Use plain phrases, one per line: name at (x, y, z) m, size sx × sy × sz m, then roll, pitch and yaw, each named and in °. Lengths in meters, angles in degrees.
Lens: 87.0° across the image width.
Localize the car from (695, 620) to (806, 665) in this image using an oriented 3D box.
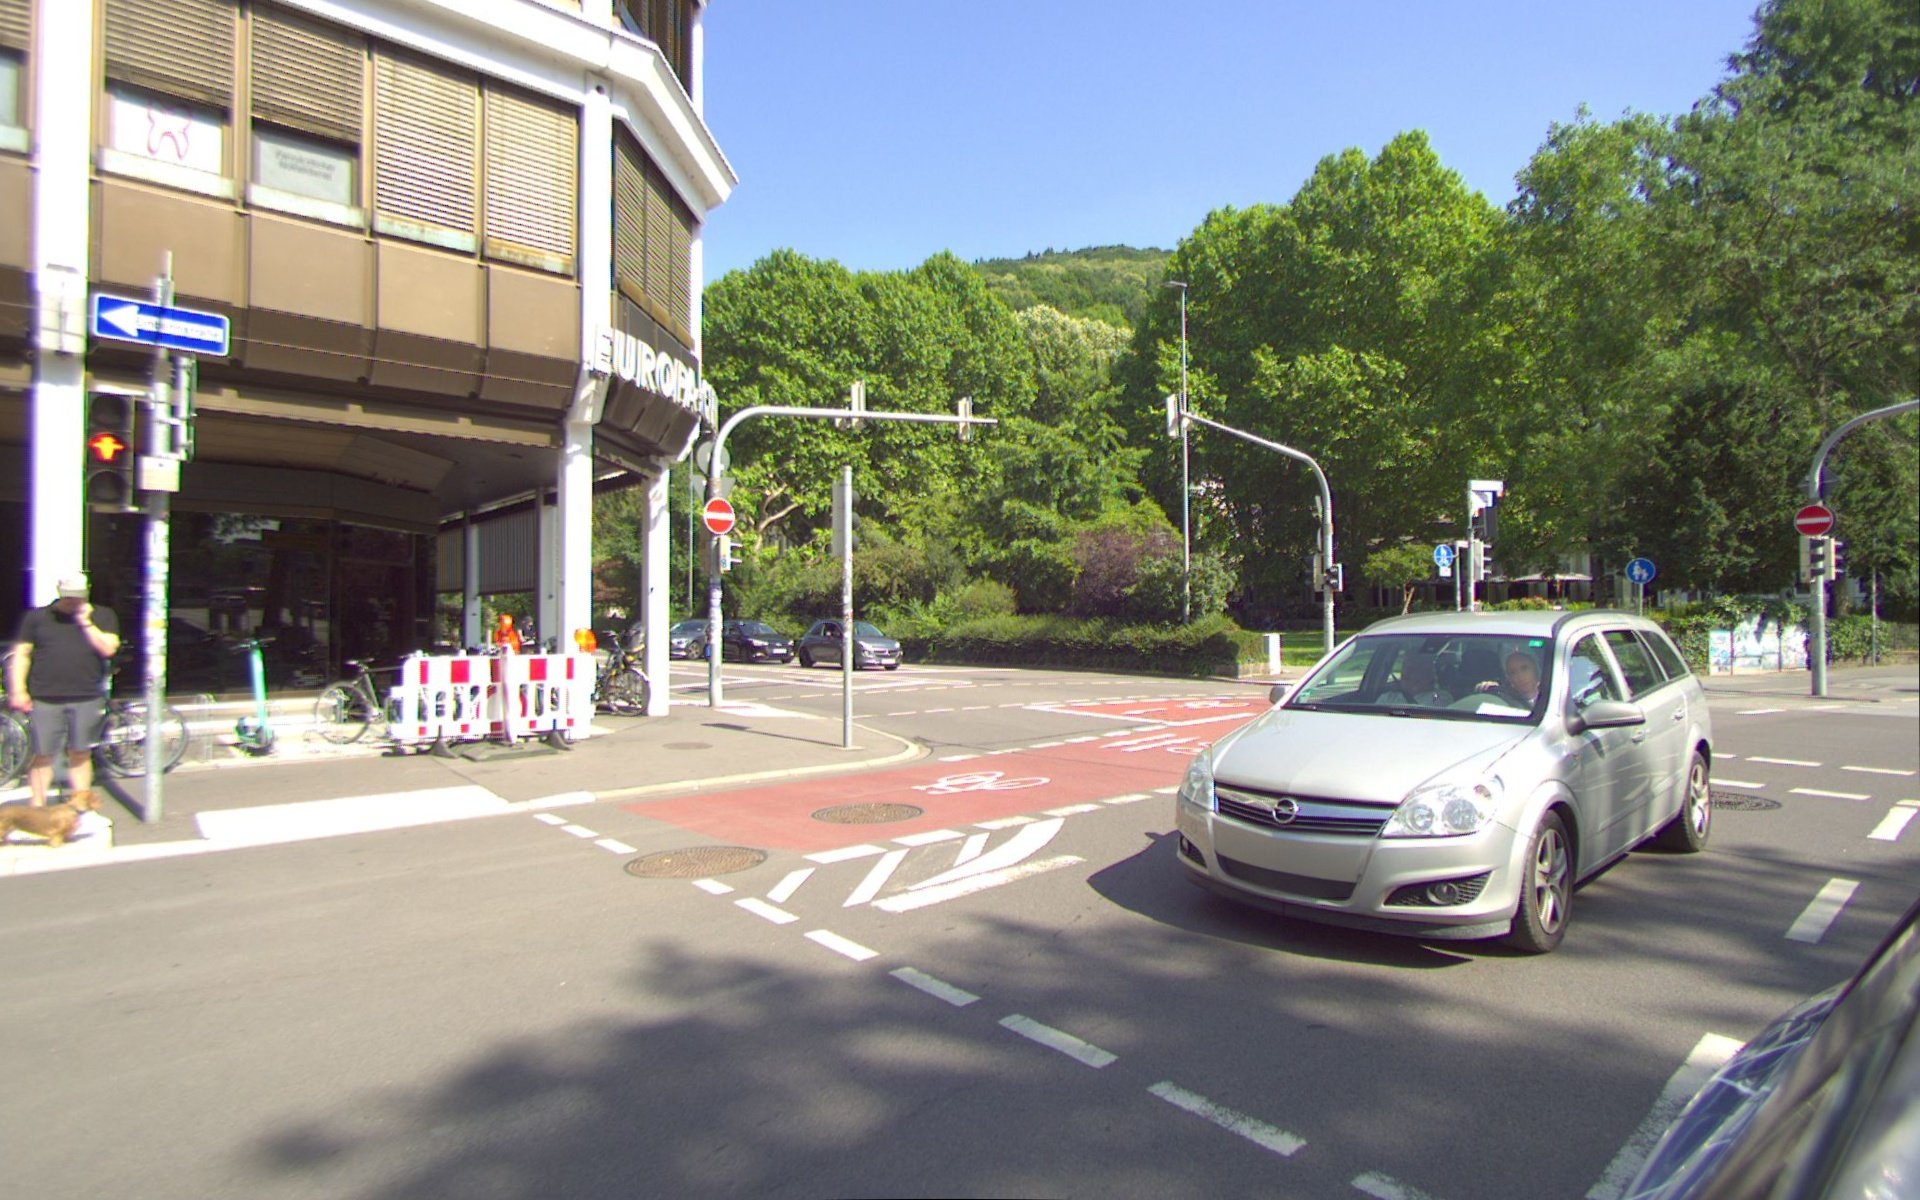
car at (-7.008, 1.364, 33.686) m, size 1.827 × 1.381 × 4.089 m, roll 2°, pitch -2°, yaw -42°

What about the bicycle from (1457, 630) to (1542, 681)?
bicycle at (12.744, 1.288, 23.923) m, size 1.669 × 1.135 × 0.773 m, roll -1°, pitch -1°, yaw 39°

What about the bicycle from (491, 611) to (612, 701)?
bicycle at (-7.091, 0.953, 17.583) m, size 1.936 × 1.440 × 0.529 m, roll 2°, pitch -1°, yaw 11°

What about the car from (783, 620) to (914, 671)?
car at (-3.327, 1.282, 29.635) m, size 1.827 × 1.381 × 4.090 m, roll 2°, pitch -2°, yaw -41°

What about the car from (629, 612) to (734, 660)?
car at (-10.152, 1.293, 37.274) m, size 2.030 × 1.604 × 4.734 m, roll -2°, pitch -1°, yaw 8°

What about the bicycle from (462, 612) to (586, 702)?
bicycle at (-7.334, 0.943, 17.026) m, size 1.936 × 1.440 × 0.529 m, roll 1°, pitch -1°, yaw 11°

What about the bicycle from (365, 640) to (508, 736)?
bicycle at (-6.054, 1.019, 11.731) m, size 1.442 × 1.079 × 0.309 m, roll 1°, pitch 0°, yaw -6°

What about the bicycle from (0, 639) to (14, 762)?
bicycle at (-8.951, 0.960, 9.170) m, size 0.272 × 1.134 × 1.723 m, roll 1°, pitch 0°, yaw -34°

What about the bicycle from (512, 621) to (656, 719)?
bicycle at (-5.422, 0.984, 14.601) m, size 1.936 × 1.334 × 0.529 m, roll 1°, pitch -1°, yaw 11°

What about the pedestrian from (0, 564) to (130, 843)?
pedestrian at (-6.456, 0.690, 7.238) m, size 0.683 × 1.859 × 0.836 m, roll -1°, pitch 0°, yaw -32°

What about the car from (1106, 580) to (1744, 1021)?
car at (2.861, 0.734, 5.665) m, size 4.331 × 1.542 × 1.709 m, roll 1°, pitch -2°, yaw -43°

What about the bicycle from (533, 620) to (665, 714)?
bicycle at (-5.390, 0.979, 15.129) m, size 1.829 × 1.334 × 0.529 m, roll 1°, pitch -1°, yaw 11°

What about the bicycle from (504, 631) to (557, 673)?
bicycle at (-12.628, 1.507, 29.726) m, size 0.752 × 1.134 × 2.117 m, roll -1°, pitch 0°, yaw -43°

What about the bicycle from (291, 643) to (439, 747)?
bicycle at (-6.539, 1.032, 11.137) m, size 1.445 × 1.079 × 0.376 m, roll 1°, pitch 0°, yaw 6°

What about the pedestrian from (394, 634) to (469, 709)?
pedestrian at (-9.958, 1.326, 19.086) m, size 0.957 × 1.352 × 0.826 m, roll -1°, pitch -1°, yaw 13°

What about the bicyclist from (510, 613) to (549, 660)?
bicyclist at (-12.646, 1.051, 29.733) m, size 0.769 × 1.325 × 0.941 m, roll -1°, pitch 0°, yaw -43°

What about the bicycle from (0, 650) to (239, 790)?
bicycle at (-7.674, 1.026, 8.848) m, size 2.199 × 1.135 × 0.277 m, roll 1°, pitch -2°, yaw -34°

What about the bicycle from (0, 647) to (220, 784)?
bicycle at (-7.959, 1.011, 8.997) m, size 2.199 × 1.135 × 0.277 m, roll 1°, pitch -2°, yaw -34°

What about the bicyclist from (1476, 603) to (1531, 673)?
bicyclist at (12.807, 0.876, 23.843) m, size 0.939 × 1.595 × 0.855 m, roll -1°, pitch 0°, yaw 42°

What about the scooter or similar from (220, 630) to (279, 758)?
scooter or similar at (-7.482, 0.947, 10.676) m, size 0.471 × 1.248 × 1.250 m, roll 1°, pitch -1°, yaw -35°
